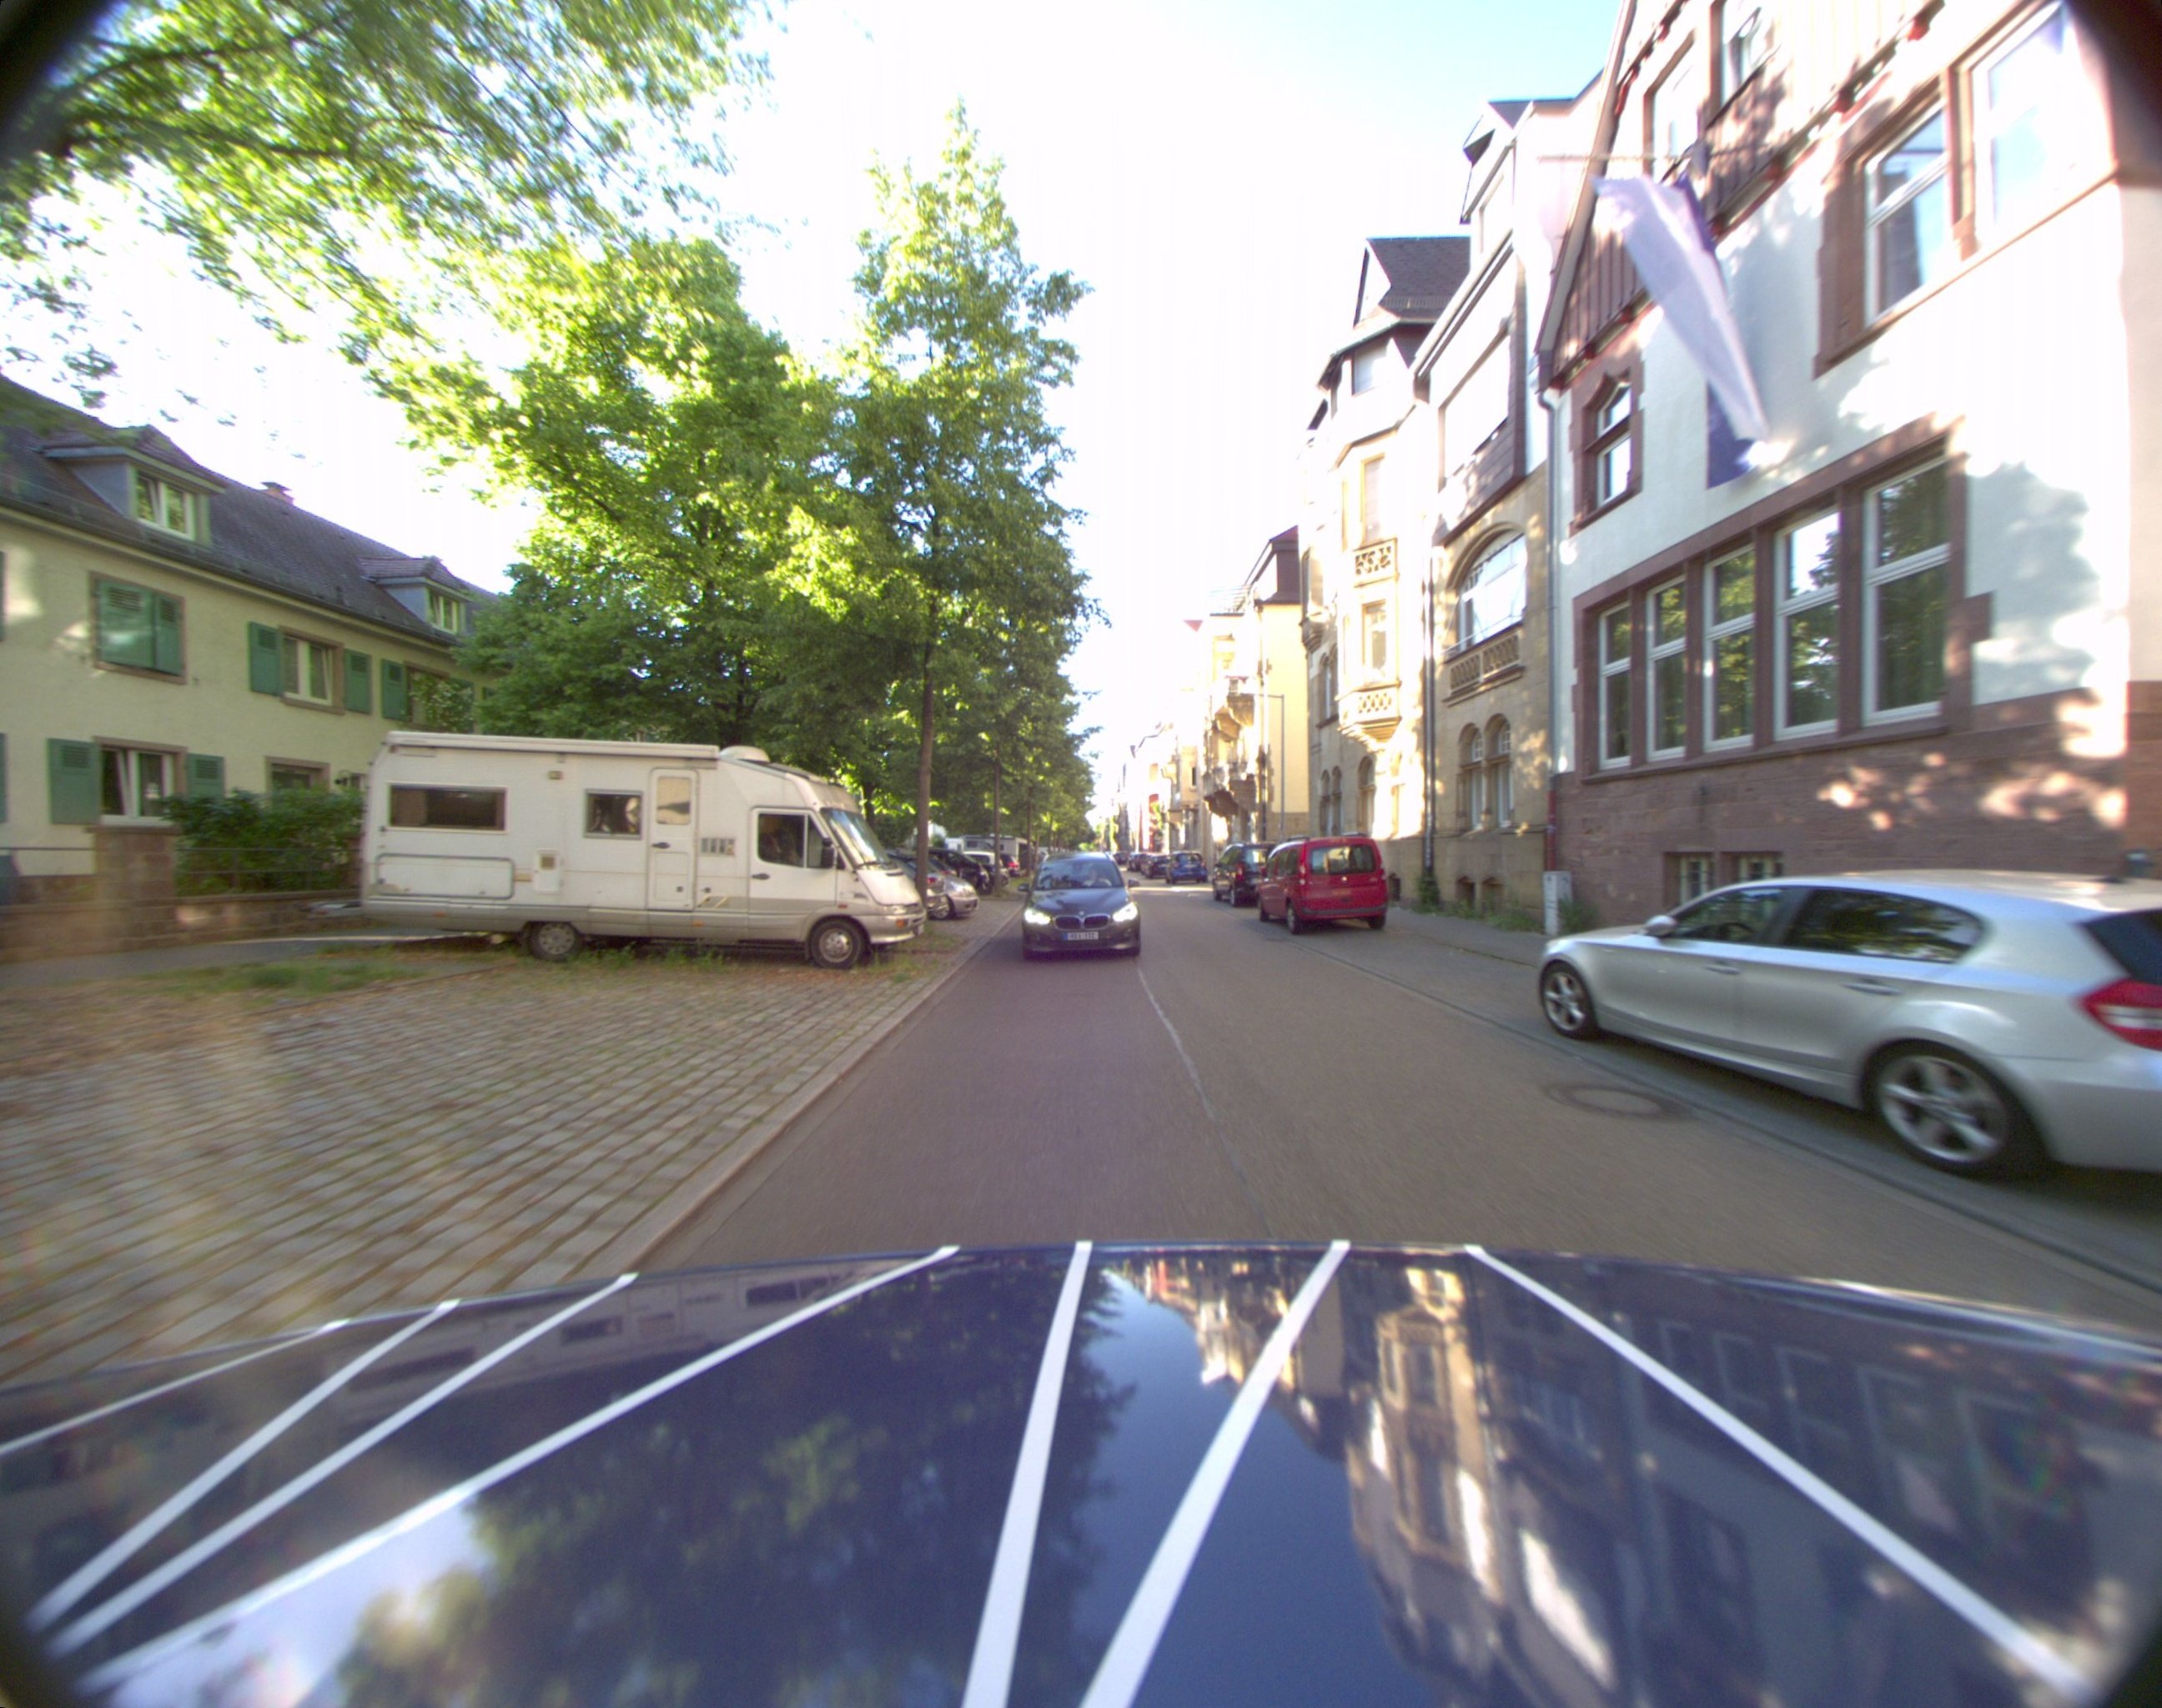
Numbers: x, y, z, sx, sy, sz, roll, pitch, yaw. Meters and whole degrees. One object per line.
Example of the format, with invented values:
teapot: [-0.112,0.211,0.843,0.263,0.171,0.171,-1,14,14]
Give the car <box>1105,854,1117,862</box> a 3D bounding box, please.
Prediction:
car: [4.996,0.651,126.608,1.702,1.372,3.999,-1,0,0]

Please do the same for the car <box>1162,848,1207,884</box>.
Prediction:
car: [4.831,0.540,35.786,1.688,1.500,2.861,-4,1,0]

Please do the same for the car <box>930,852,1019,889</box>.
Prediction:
car: [-4.380,0.650,31.577,3.456,1.467,1.693,0,1,0]

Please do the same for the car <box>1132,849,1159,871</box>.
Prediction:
car: [4.854,0.425,57.753,1.747,1.457,3.998,-3,1,1]

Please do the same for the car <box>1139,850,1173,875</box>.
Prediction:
car: [4.960,0.546,50.662,1.694,1.458,3.772,-5,1,-2]

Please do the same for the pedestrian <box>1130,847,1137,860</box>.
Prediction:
pedestrian: [7.044,-0.077,102.196,0.779,1.693,1.010,-1,1,0]

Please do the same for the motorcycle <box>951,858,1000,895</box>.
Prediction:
motorcycle: [-3.601,0.750,25.761,0.739,1.190,1.771,-2,1,-44]

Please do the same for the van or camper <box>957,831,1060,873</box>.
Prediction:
van or camper: [-5.231,-0.189,55.591,7.266,2.888,2.427,-1,2,0]

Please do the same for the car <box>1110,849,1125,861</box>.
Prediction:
car: [5.102,0.129,105.938,1.922,1.510,3.999,-1,0,0]

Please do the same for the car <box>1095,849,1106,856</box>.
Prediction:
car: [4.855,-0.425,190.778,2.000,1.529,3.997,-3,1,-8]

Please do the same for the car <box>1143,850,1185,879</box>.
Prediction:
car: [4.810,0.571,44.578,1.905,1.430,4.541,-5,0,0]

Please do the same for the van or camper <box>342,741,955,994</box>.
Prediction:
van or camper: [-5.534,0.139,10.716,7.095,3.060,2.464,-1,1,-2]

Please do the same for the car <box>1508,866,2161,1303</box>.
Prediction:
car: [4.729,0.870,4.698,1.748,1.458,4.102,-2,0,-2]

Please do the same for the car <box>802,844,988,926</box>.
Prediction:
car: [-4.285,0.681,17.932,3.924,1.734,1.729,2,1,0]

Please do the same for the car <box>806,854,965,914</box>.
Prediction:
car: [-5.175,0.782,20.544,3.887,1.464,1.786,1,1,-5]

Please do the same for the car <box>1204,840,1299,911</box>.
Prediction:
car: [4.903,0.570,22.526,1.774,1.841,4.541,-2,0,0]

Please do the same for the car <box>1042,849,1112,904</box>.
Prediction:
car: [-0.232,0.694,25.174,1.999,1.584,4.261,-3,0,-3]

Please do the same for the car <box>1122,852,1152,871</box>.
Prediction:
car: [4.663,0.606,64.034,1.893,1.448,4.510,-5,0,-2]

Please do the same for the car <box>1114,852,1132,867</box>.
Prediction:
car: [4.949,0.660,89.639,1.862,1.595,3.999,-3,1,0]

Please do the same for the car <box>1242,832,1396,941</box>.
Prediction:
car: [4.752,0.569,15.849,1.803,1.896,4.324,-3,1,0]

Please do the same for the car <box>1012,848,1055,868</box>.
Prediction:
car: [-4.482,0.381,72.173,3.997,1.804,2.000,-1,1,0]

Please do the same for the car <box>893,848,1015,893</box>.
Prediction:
car: [-4.770,0.598,29.032,4.344,1.599,1.927,1,1,-1]

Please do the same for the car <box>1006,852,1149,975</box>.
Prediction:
car: [-0.024,0.841,12.970,1.924,1.597,4.516,-3,0,1]

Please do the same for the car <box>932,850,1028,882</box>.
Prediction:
car: [-4.974,0.568,37.834,4.468,1.469,1.753,1,1,1]

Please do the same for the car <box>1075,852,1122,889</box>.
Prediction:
car: [0.790,0.731,36.137,1.998,1.510,4.651,-3,0,1]

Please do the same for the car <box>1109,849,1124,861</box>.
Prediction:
car: [5.117,0.119,110.154,1.998,1.515,3.999,-3,1,0]

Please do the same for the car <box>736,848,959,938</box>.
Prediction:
car: [-4.720,0.748,15.740,3.971,1.590,1.903,2,2,3]
